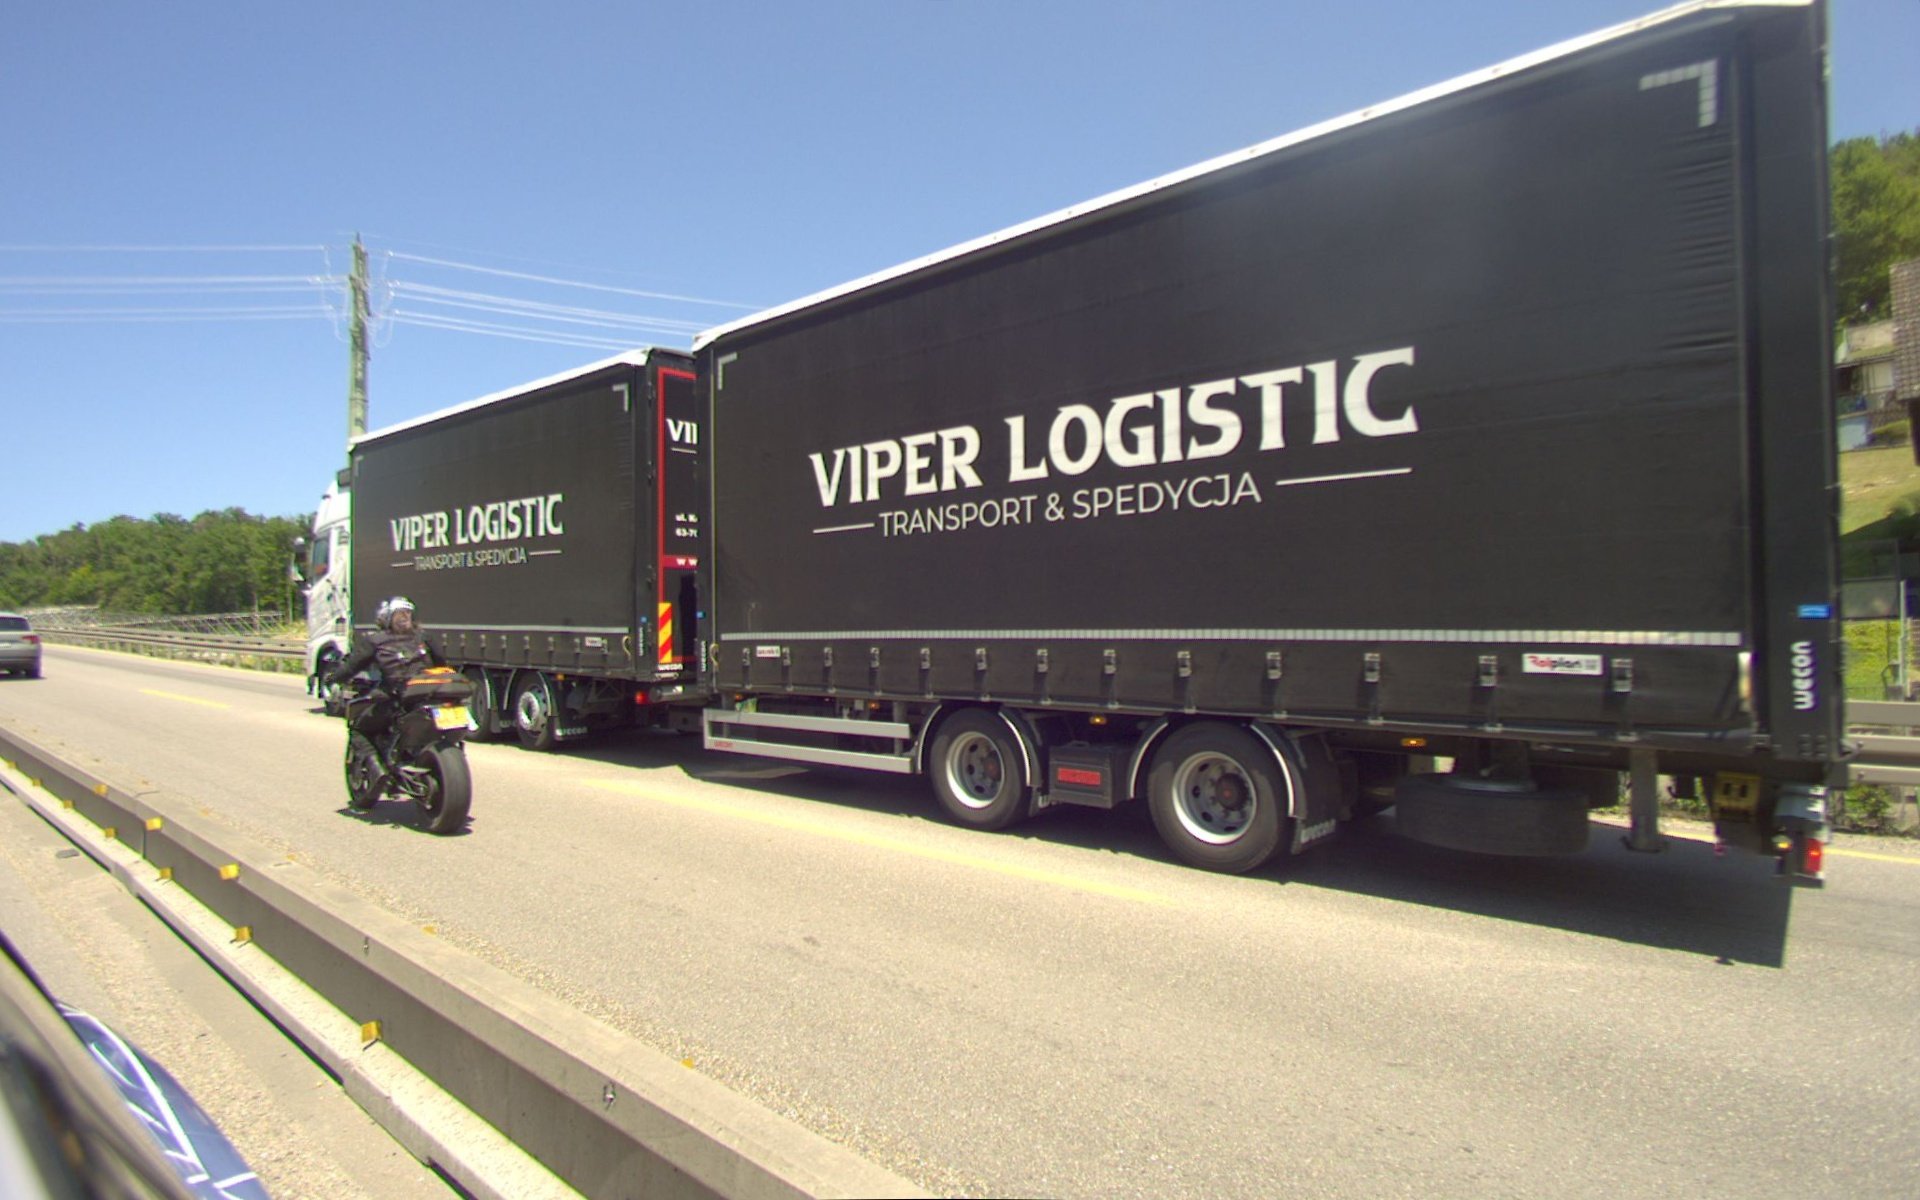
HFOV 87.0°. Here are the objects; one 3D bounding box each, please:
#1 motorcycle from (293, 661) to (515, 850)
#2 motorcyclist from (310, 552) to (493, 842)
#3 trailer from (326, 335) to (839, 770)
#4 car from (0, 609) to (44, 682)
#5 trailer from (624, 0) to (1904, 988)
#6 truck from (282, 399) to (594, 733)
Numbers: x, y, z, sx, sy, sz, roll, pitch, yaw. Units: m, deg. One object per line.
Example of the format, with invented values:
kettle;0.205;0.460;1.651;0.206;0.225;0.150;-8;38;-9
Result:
motorcycle;-3.981;1.014;7.177;1.911;1.088;0.778;-2;-1;41
motorcyclist;-3.959;0.629;7.169;0.983;1.869;0.844;-2;-1;41
trailer;-5.328;-0.346;13.193;8.002;4.101;2.729;-2;-1;41
car;-23.442;1.050;24.157;4.066;1.623;1.840;0;0;40
trailer;1.035;-0.518;7.616;8.629;4.101;2.729;-2;-1;41
truck;-8.221;-0.404;15.729;4.955;4.316;2.723;-1;-1;42
